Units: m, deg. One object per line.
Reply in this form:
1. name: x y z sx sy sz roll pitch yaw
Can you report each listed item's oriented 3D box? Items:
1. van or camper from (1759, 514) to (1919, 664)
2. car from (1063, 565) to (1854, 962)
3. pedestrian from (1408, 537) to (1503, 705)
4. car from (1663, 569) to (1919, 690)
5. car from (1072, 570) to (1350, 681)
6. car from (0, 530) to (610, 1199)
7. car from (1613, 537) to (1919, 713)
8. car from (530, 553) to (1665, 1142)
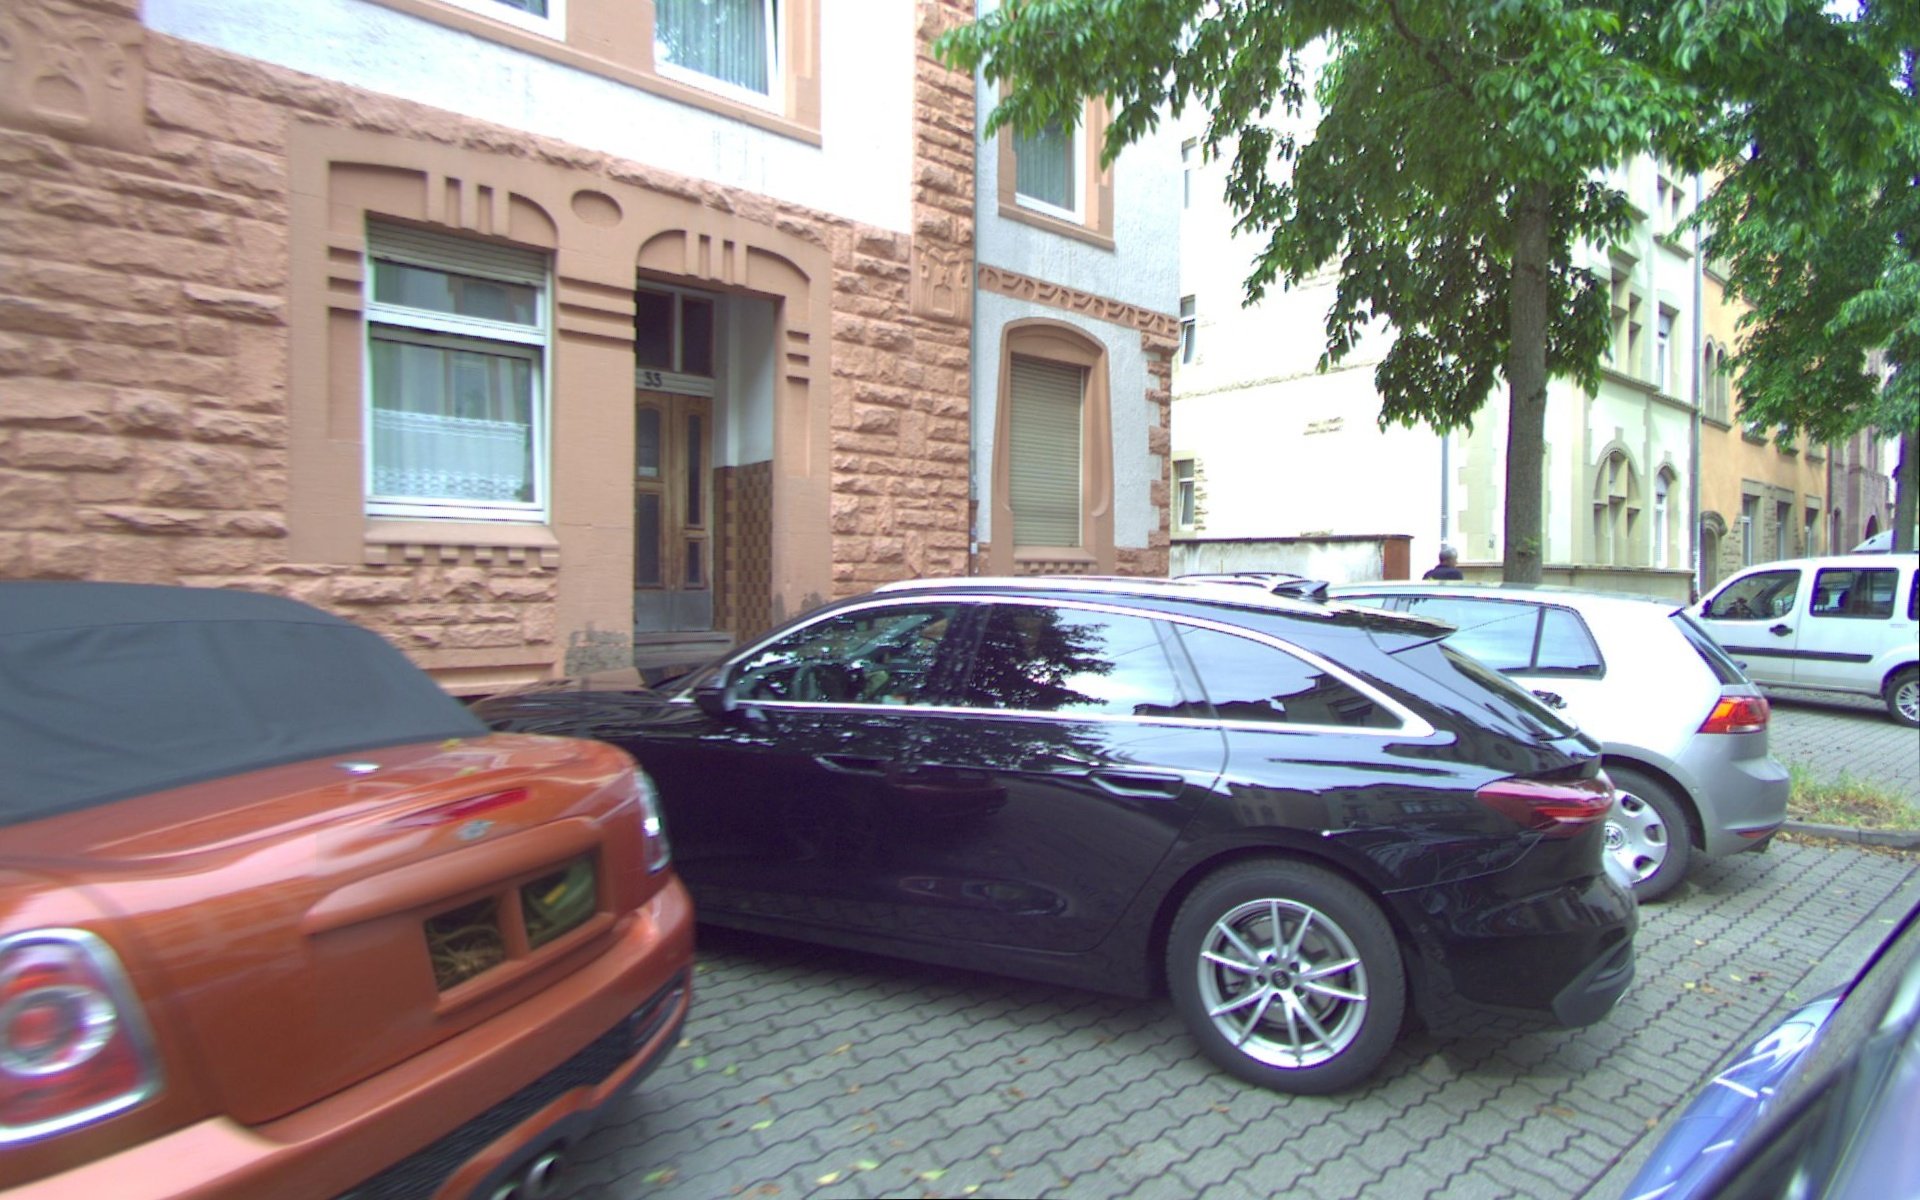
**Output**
1. van or camper: 17.966 -0.200 18.342 5.010 2.623 2.059 1 1 22
2. car: 2.498 0.634 5.666 3.439 1.582 1.768 0 0 30
3. pedestrian: 5.691 0.224 11.616 0.802 1.834 0.703 0 0 -38
4. car: 12.954 0.380 14.651 4.229 1.637 1.749 1 1 23
5. car: 3.684 0.286 15.434 1.580 1.472 3.997 0 1 -38
6. car: -3.141 0.584 2.903 3.836 1.454 1.735 1 0 20
7. car: 10.223 0.235 11.851 1.686 1.834 4.004 0 1 -30
8. car: 0.349 0.582 4.001 3.649 1.484 1.694 1 1 21
